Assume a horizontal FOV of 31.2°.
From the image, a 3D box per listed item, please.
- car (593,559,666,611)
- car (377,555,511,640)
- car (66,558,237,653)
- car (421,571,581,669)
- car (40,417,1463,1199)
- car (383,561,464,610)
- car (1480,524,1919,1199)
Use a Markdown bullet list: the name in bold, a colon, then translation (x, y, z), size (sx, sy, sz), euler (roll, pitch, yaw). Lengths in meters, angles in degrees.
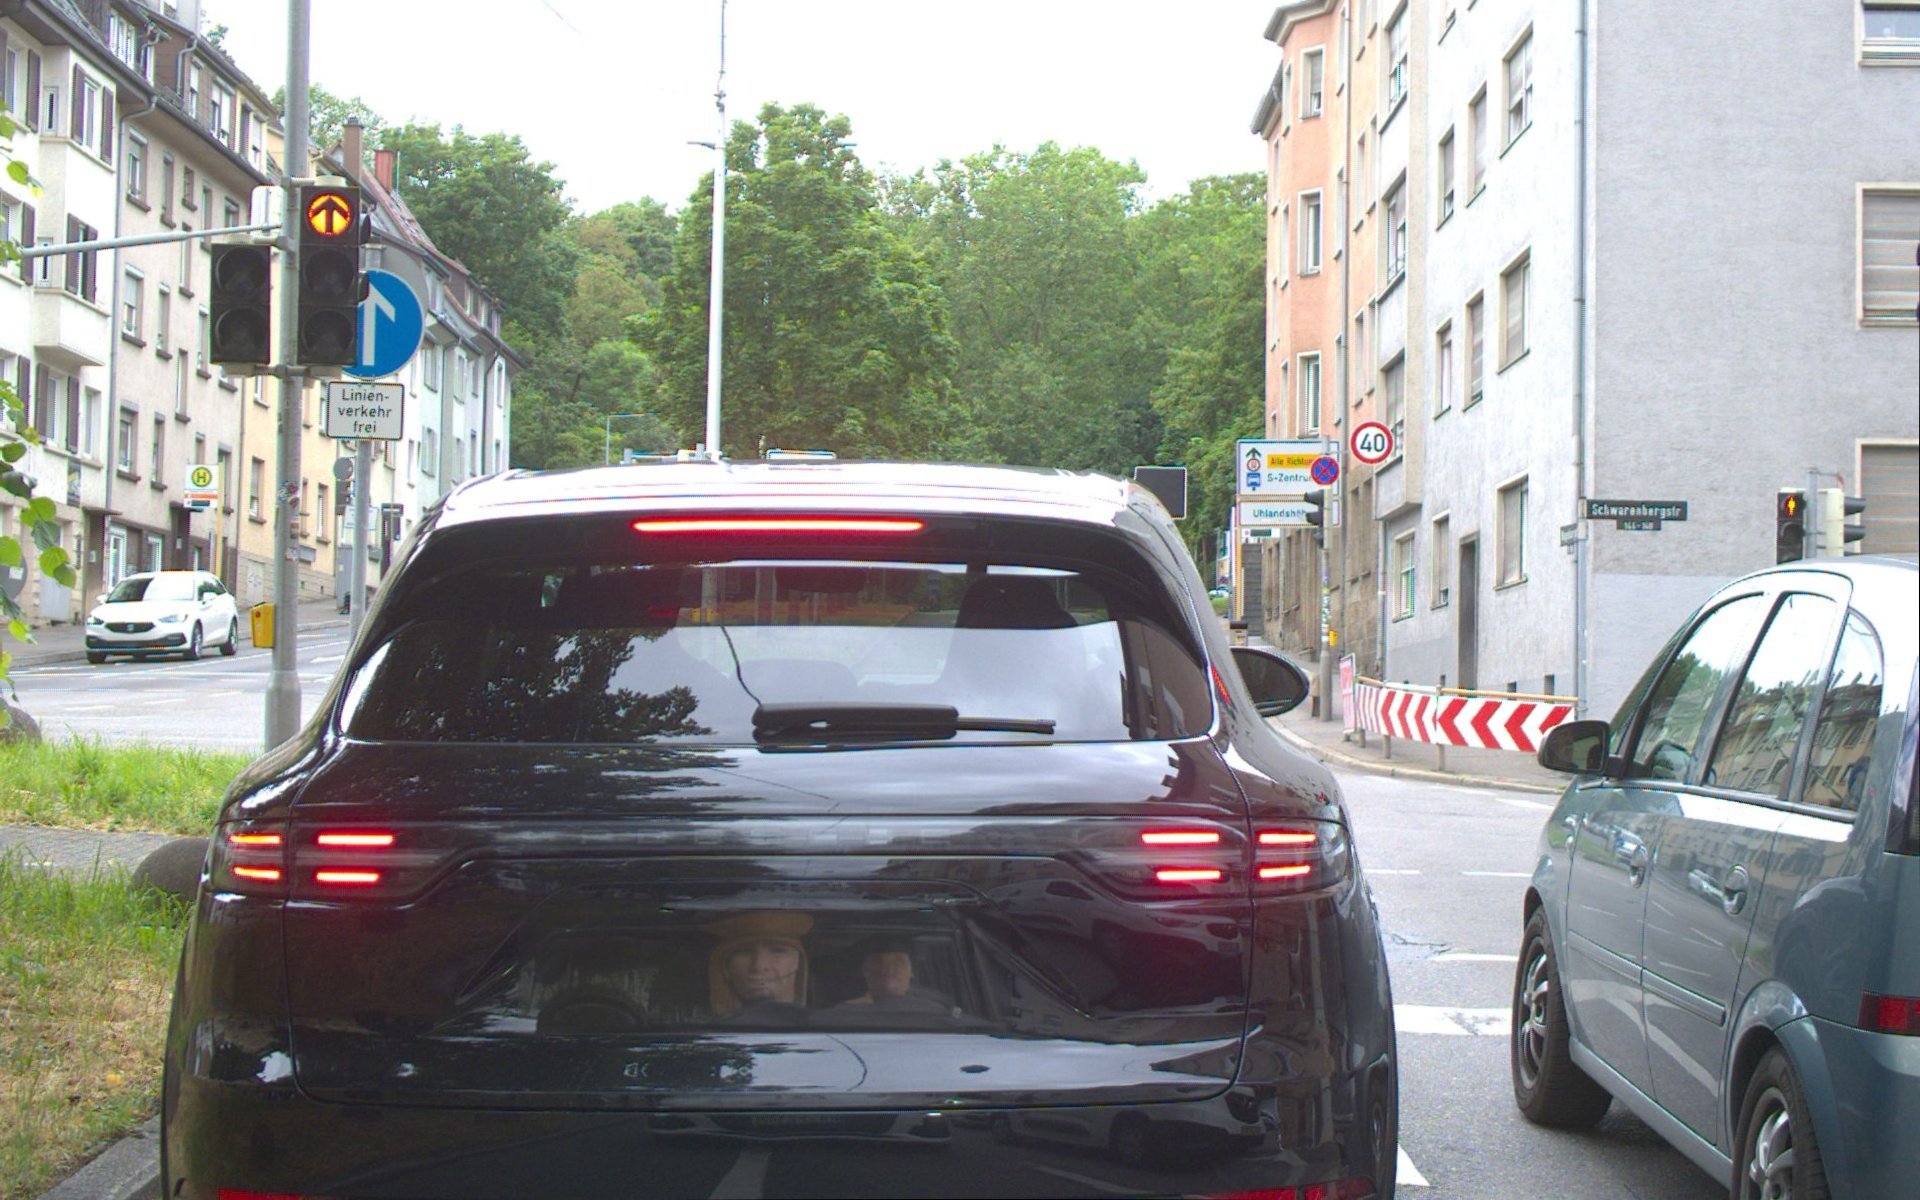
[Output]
- **car**: translation (-9.872, -0.430, 102.994), size (1.619, 1.475, 3.823), euler (1, -1, 3)
- **car**: translation (-10.224, -0.066, 68.404), size (1.974, 1.605, 4.558), euler (1, 1, 0)
- **car**: translation (-13.154, 0.069, 56.136), size (1.844, 1.481, 3.898), euler (1, 1, 0)
- **car**: translation (-6.850, 0.278, 51.673), size (1.862, 1.383, 4.094), euler (1, 1, 0)
- **car**: translation (-0.310, 0.564, 6.733), size (1.955, 1.669, 4.000), euler (0, 1, -1)
- **car**: translation (-15.451, -0.427, 99.191), size (1.739, 1.382, 3.814), euler (1, 1, 0)
- **car**: translation (2.354, 0.695, 7.888), size (1.628, 1.592, 3.669), euler (4, 1, -1)
